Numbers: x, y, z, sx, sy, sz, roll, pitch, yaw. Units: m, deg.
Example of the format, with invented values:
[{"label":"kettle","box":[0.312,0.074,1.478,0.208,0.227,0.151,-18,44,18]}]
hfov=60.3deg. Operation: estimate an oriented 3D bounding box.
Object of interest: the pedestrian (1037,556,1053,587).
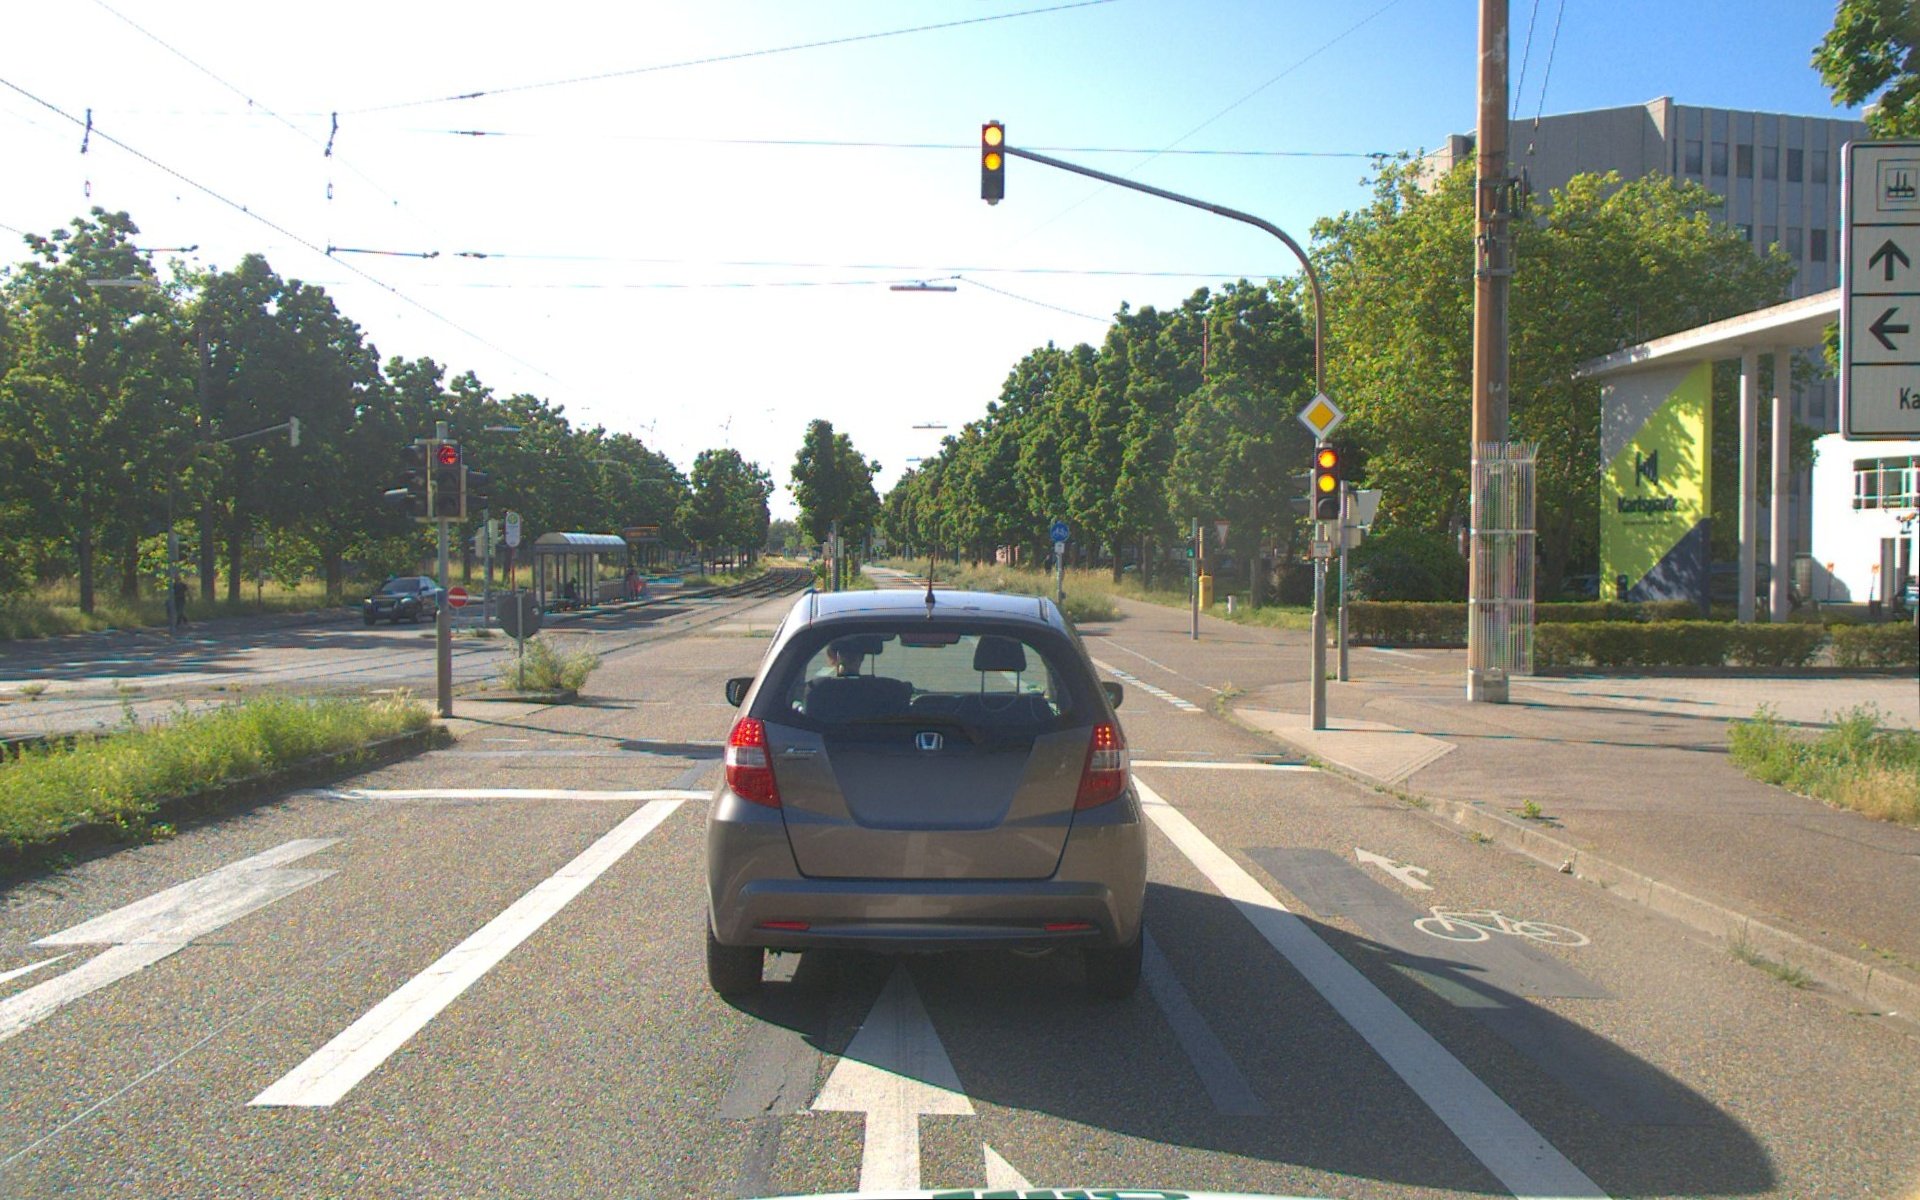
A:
[{"label":"pedestrian","box":[5.265,-1.747,102.354,0.865,1.917,0.875,0,1,-5]}]

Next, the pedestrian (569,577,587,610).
[{"label":"pedestrian","box":[-15.093,-0.259,65.302,0.552,1.279,0.580,-2,0,-2]}]

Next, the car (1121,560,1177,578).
[{"label":"car","box":[16.527,-2.737,144.811,4.543,1.582,1.997,-1,1,-7]}]

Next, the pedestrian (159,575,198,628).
[{"label":"pedestrian","box":[-26.494,0.028,56.067,0.744,1.764,0.936,0,1,27]}]

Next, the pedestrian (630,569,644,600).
[{"label":"pedestrian","box":[-15.583,-0.759,79.855,0.533,1.473,0.559,-1,0,-1]}]

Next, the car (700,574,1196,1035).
[{"label":"car","box":[-0.064,0.691,7.457,1.666,1.550,3.709,1,0,-1]}]

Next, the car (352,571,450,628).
[{"label":"car","box":[-20.188,-0.059,59.990,2.052,1.841,4.791,-2,2,-3]}]

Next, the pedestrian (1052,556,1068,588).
[{"label":"pedestrian","box":[6.181,-1.733,102.452,0.865,1.917,0.875,0,1,-5]}]

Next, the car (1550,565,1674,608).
[{"label":"car","box":[26.637,-0.551,67.605,4.371,1.715,1.892,0,1,-7]}]

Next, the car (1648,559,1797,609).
[{"label":"car","box":[28.003,-0.619,60.763,4.803,1.787,2.083,0,1,-16]}]

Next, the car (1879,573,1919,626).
[{"label":"car","box":[30.635,-0.027,50.736,3.914,1.605,1.950,0,1,-10]}]
